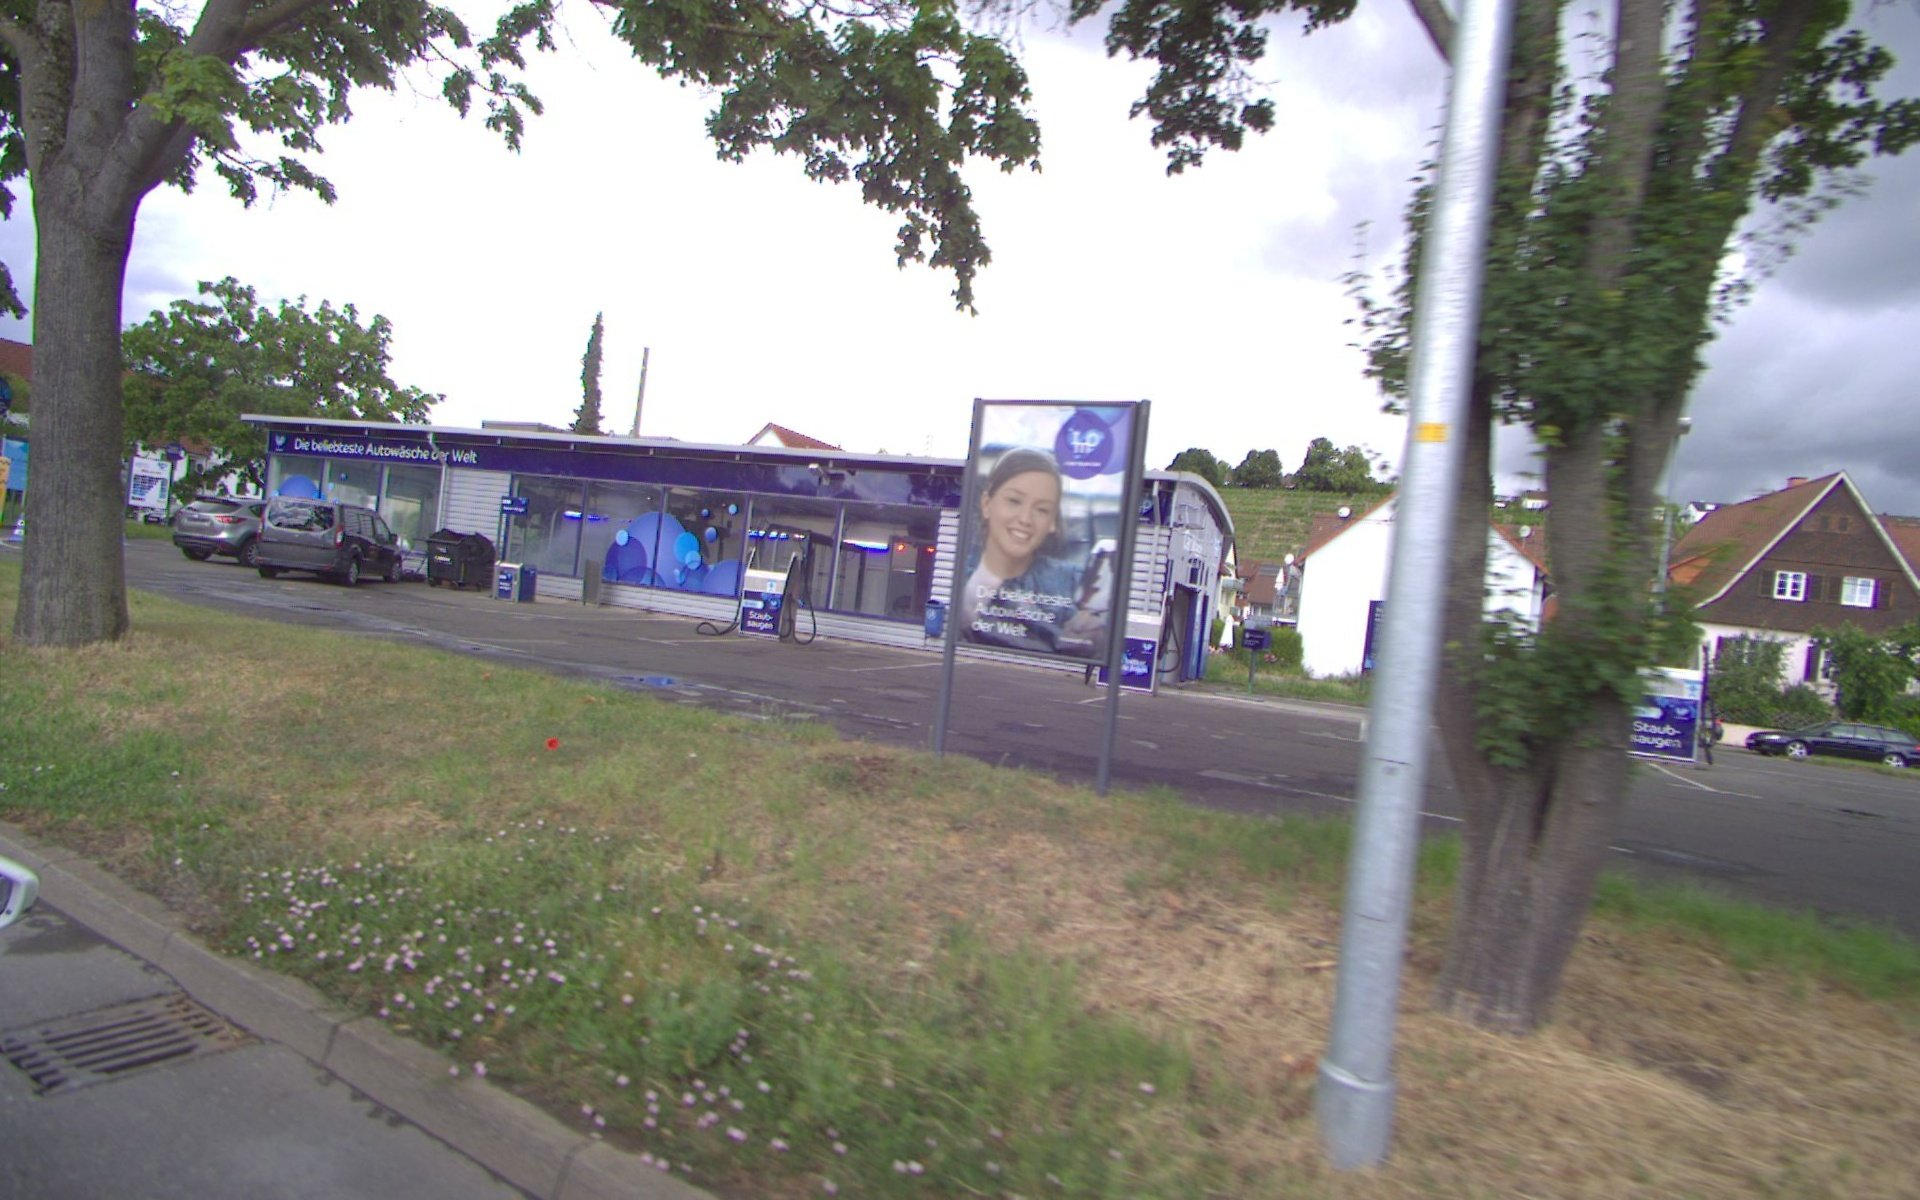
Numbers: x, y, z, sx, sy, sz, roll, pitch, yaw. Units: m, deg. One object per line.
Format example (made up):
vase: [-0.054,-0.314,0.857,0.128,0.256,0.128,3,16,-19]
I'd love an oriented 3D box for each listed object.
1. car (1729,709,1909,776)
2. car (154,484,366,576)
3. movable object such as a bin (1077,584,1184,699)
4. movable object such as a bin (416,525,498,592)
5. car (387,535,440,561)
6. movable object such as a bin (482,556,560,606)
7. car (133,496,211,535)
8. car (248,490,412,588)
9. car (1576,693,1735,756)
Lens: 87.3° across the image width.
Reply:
car: [28.188,4.639,33.177,3.925,1.480,2.003,8,-3,17]
car: [-17.612,-1.695,25.585,1.805,1.718,4.214,8,0,11]
movable object such as a bin: [3.077,0.742,18.083,1.429,1.841,1.161,7,1,25]
movable object such as a bin: [-12.774,-1.047,25.566,1.362,1.493,1.161,7,0,25]
car: [-43.539,-4.132,80.280,1.964,1.535,3.999,8,-1,-2]
movable object such as a bin: [-10.434,-0.451,23.931,1.167,0.988,1.161,7,0,25]
car: [-51.030,-5.423,65.243,1.966,1.785,3.999,9,-3,-7]
car: [-14.448,-1.321,23.370,1.723,1.844,4.372,7,0,-13]
car: [23.787,4.229,34.592,3.925,1.480,2.003,8,-3,17]
